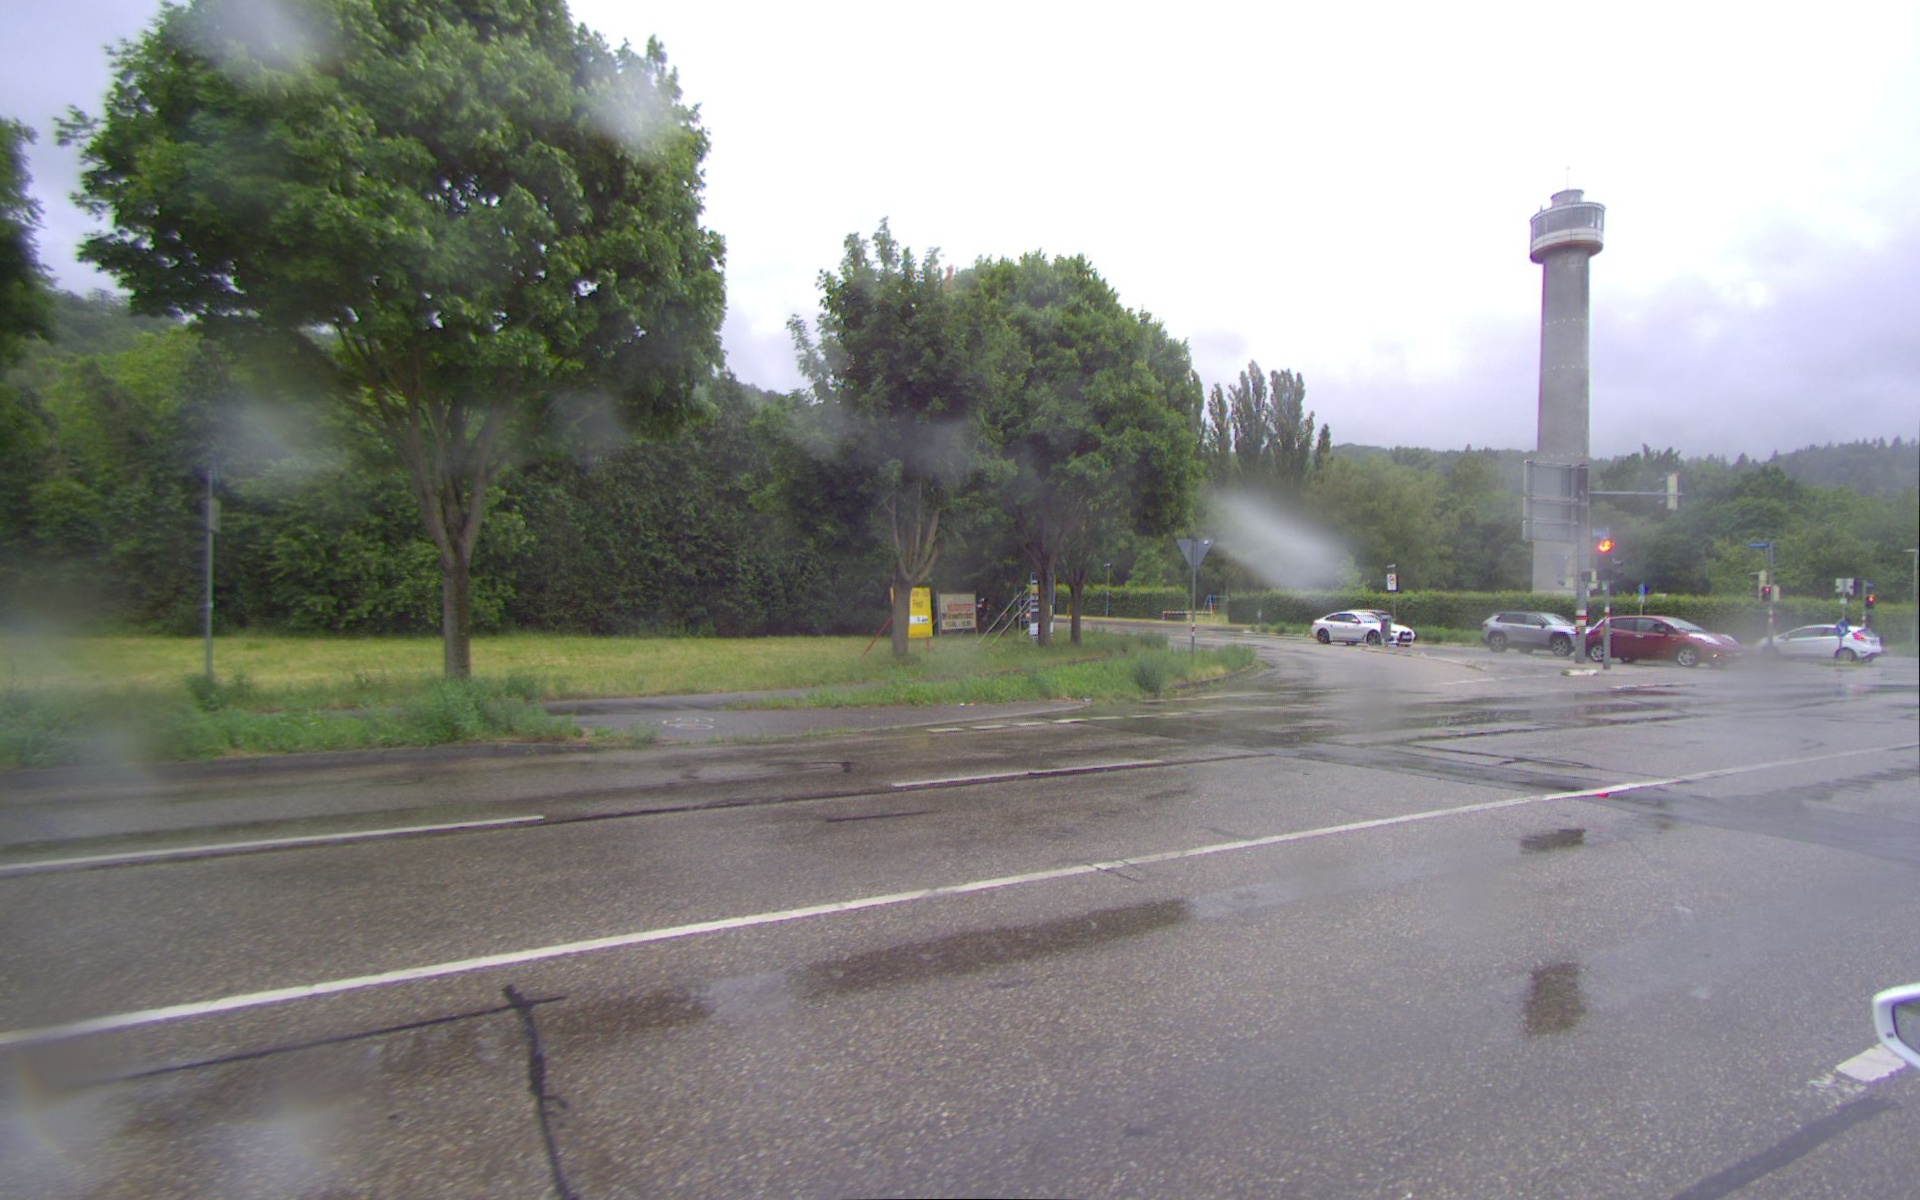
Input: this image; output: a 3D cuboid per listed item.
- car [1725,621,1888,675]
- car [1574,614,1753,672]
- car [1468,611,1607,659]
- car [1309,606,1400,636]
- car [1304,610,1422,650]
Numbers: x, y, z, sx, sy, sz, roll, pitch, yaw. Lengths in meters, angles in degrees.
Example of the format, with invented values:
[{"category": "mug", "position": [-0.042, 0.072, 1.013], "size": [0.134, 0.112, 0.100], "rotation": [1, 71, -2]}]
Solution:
[{"category": "car", "position": [33.802, 1.864, 40.244], "size": [1.893, 1.941, 4.647], "rotation": [1, 0, -30]}, {"category": "car", "position": [21.992, 1.278, 31.621], "size": [1.708, 1.600, 4.364], "rotation": [1, 0, -24]}, {"category": "car", "position": [22.513, 1.320, 39.388], "size": [1.885, 1.601, 4.517], "rotation": [1, 1, -22]}, {"category": "car", "position": [22.907, 1.208, 58.471], "size": [1.808, 1.661, 4.629], "rotation": [1, 0, -41]}, {"category": "car", "position": [17.072, 1.238, 42.871], "size": [1.774, 1.574, 4.870], "rotation": [1, 0, -23]}]
